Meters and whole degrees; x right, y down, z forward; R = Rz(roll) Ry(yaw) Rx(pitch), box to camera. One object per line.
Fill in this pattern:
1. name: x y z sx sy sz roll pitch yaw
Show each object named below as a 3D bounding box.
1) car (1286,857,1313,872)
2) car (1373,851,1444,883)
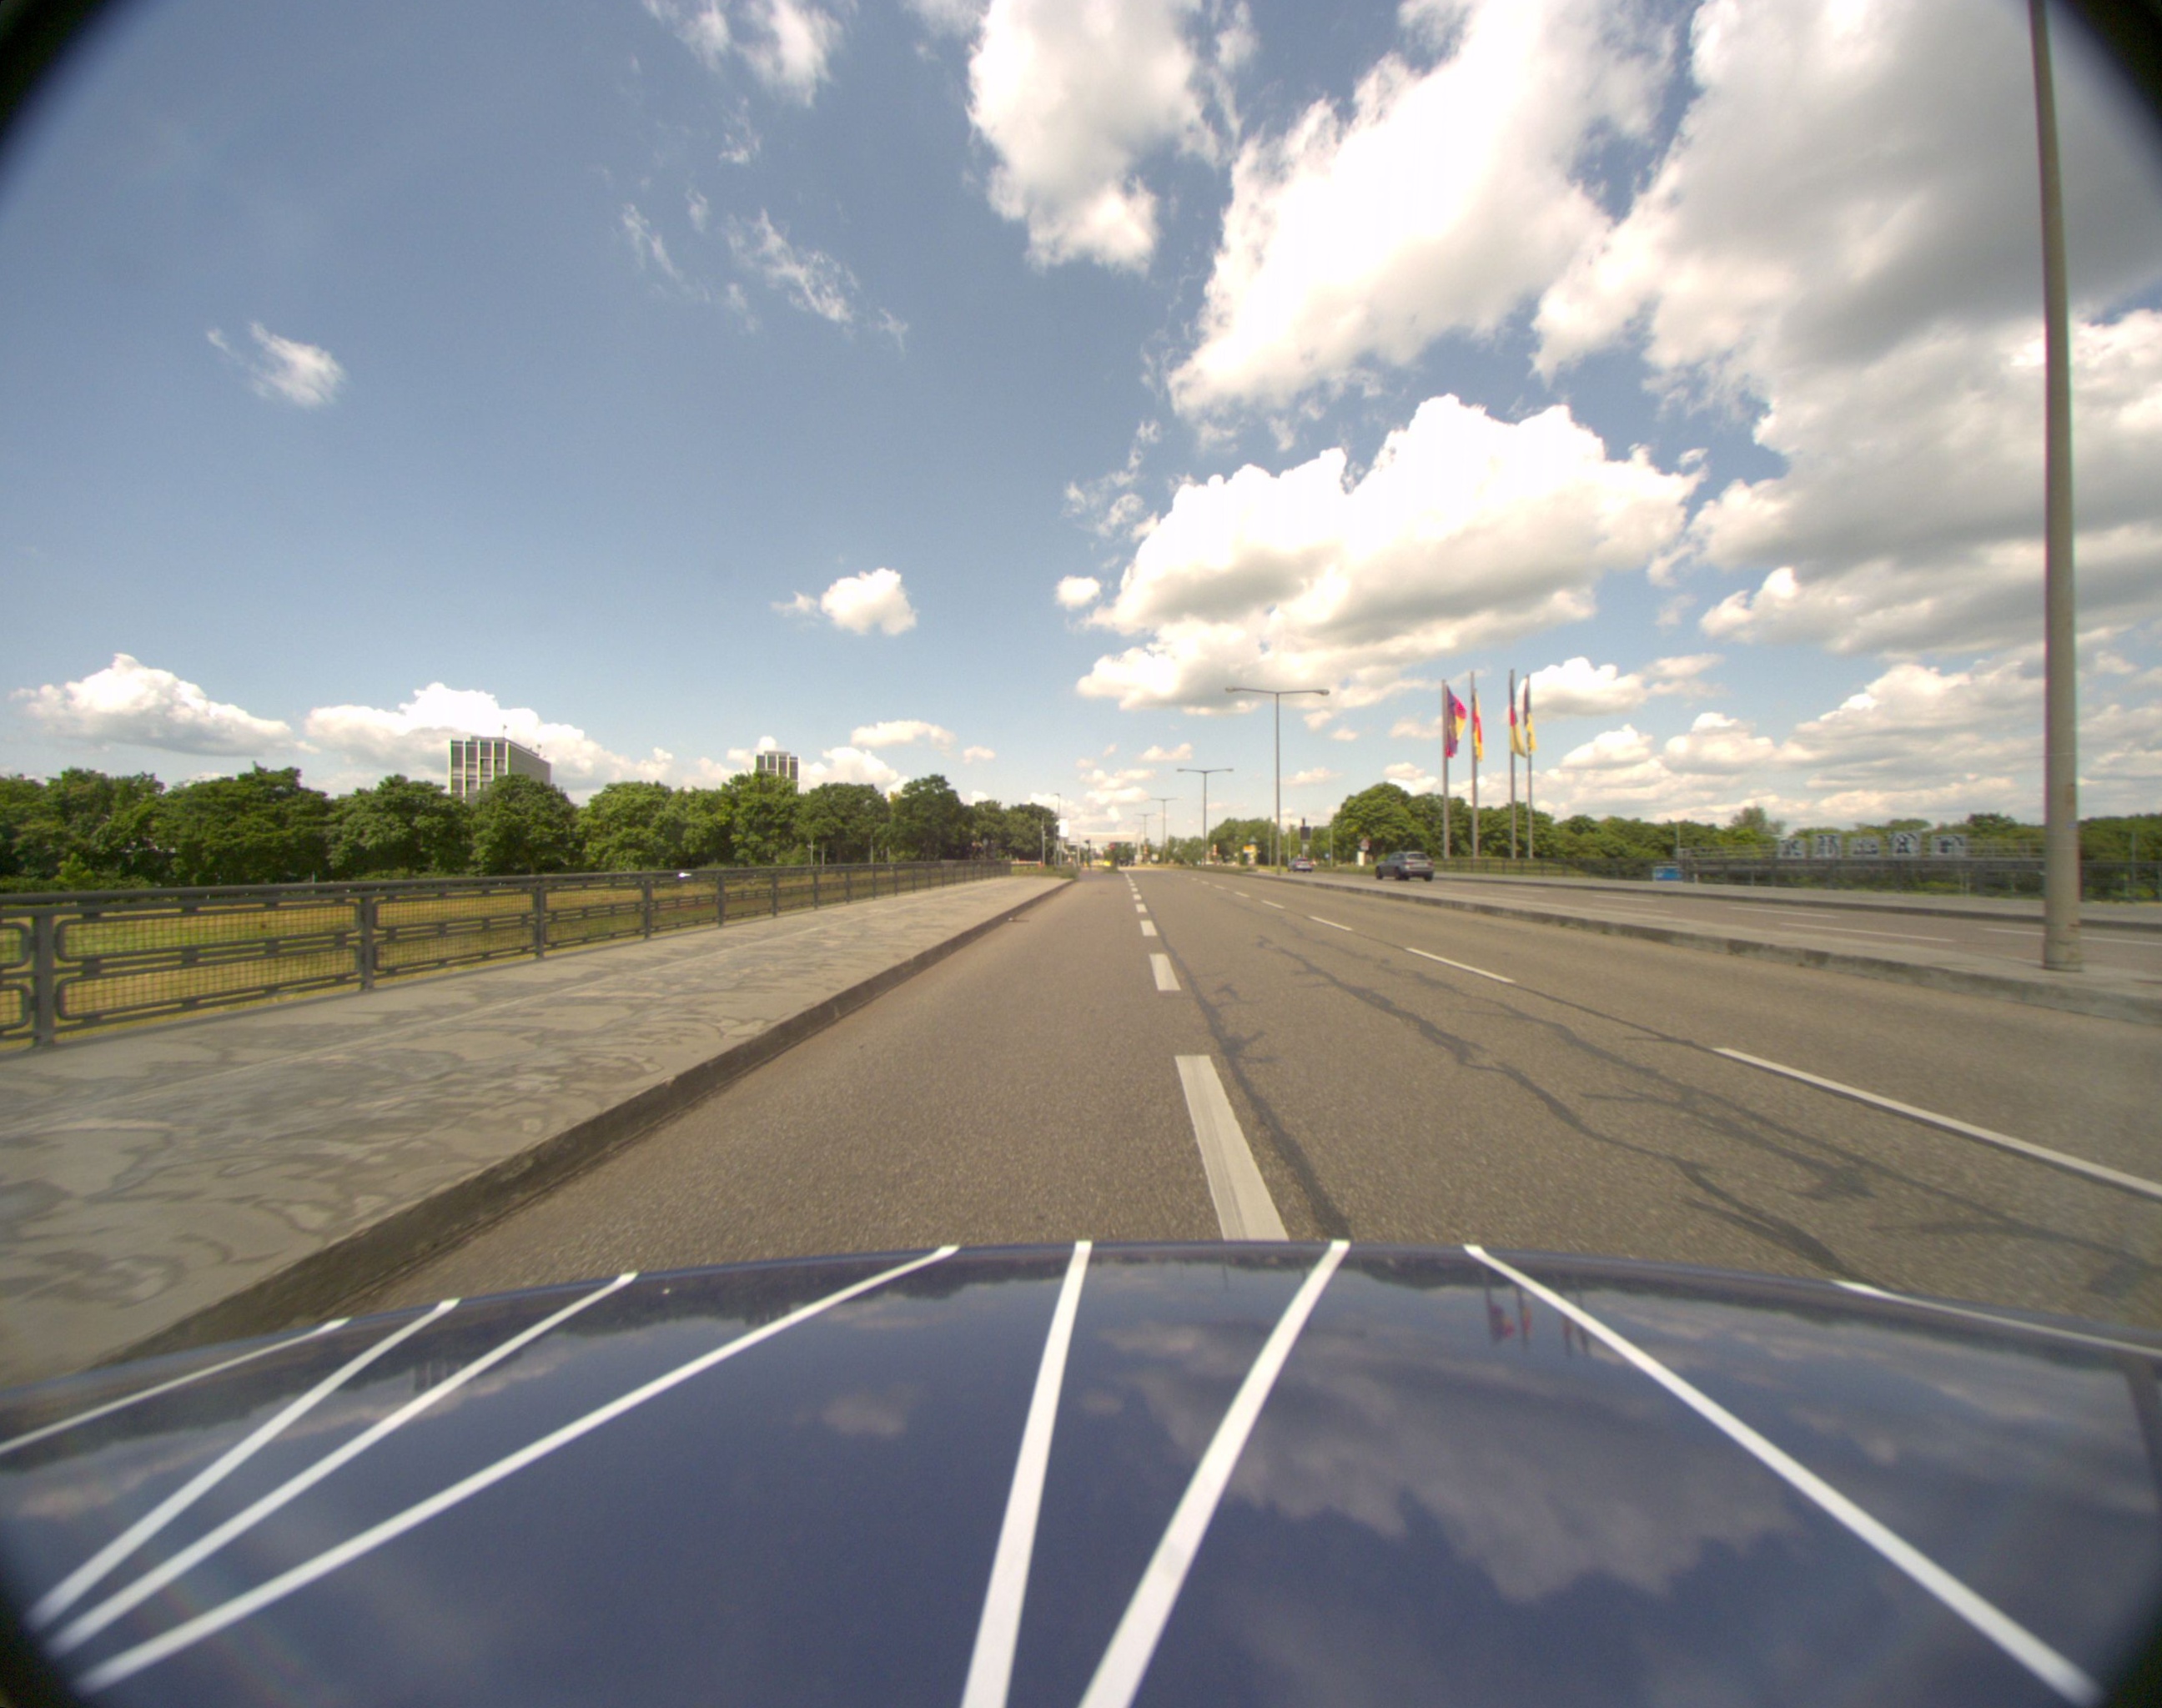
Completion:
1. car: 21.654 1.049 75.559 1.667 1.405 4.552 2 -1 4
2. car: 18.746 0.744 43.795 2.093 1.616 4.550 3 -1 0
